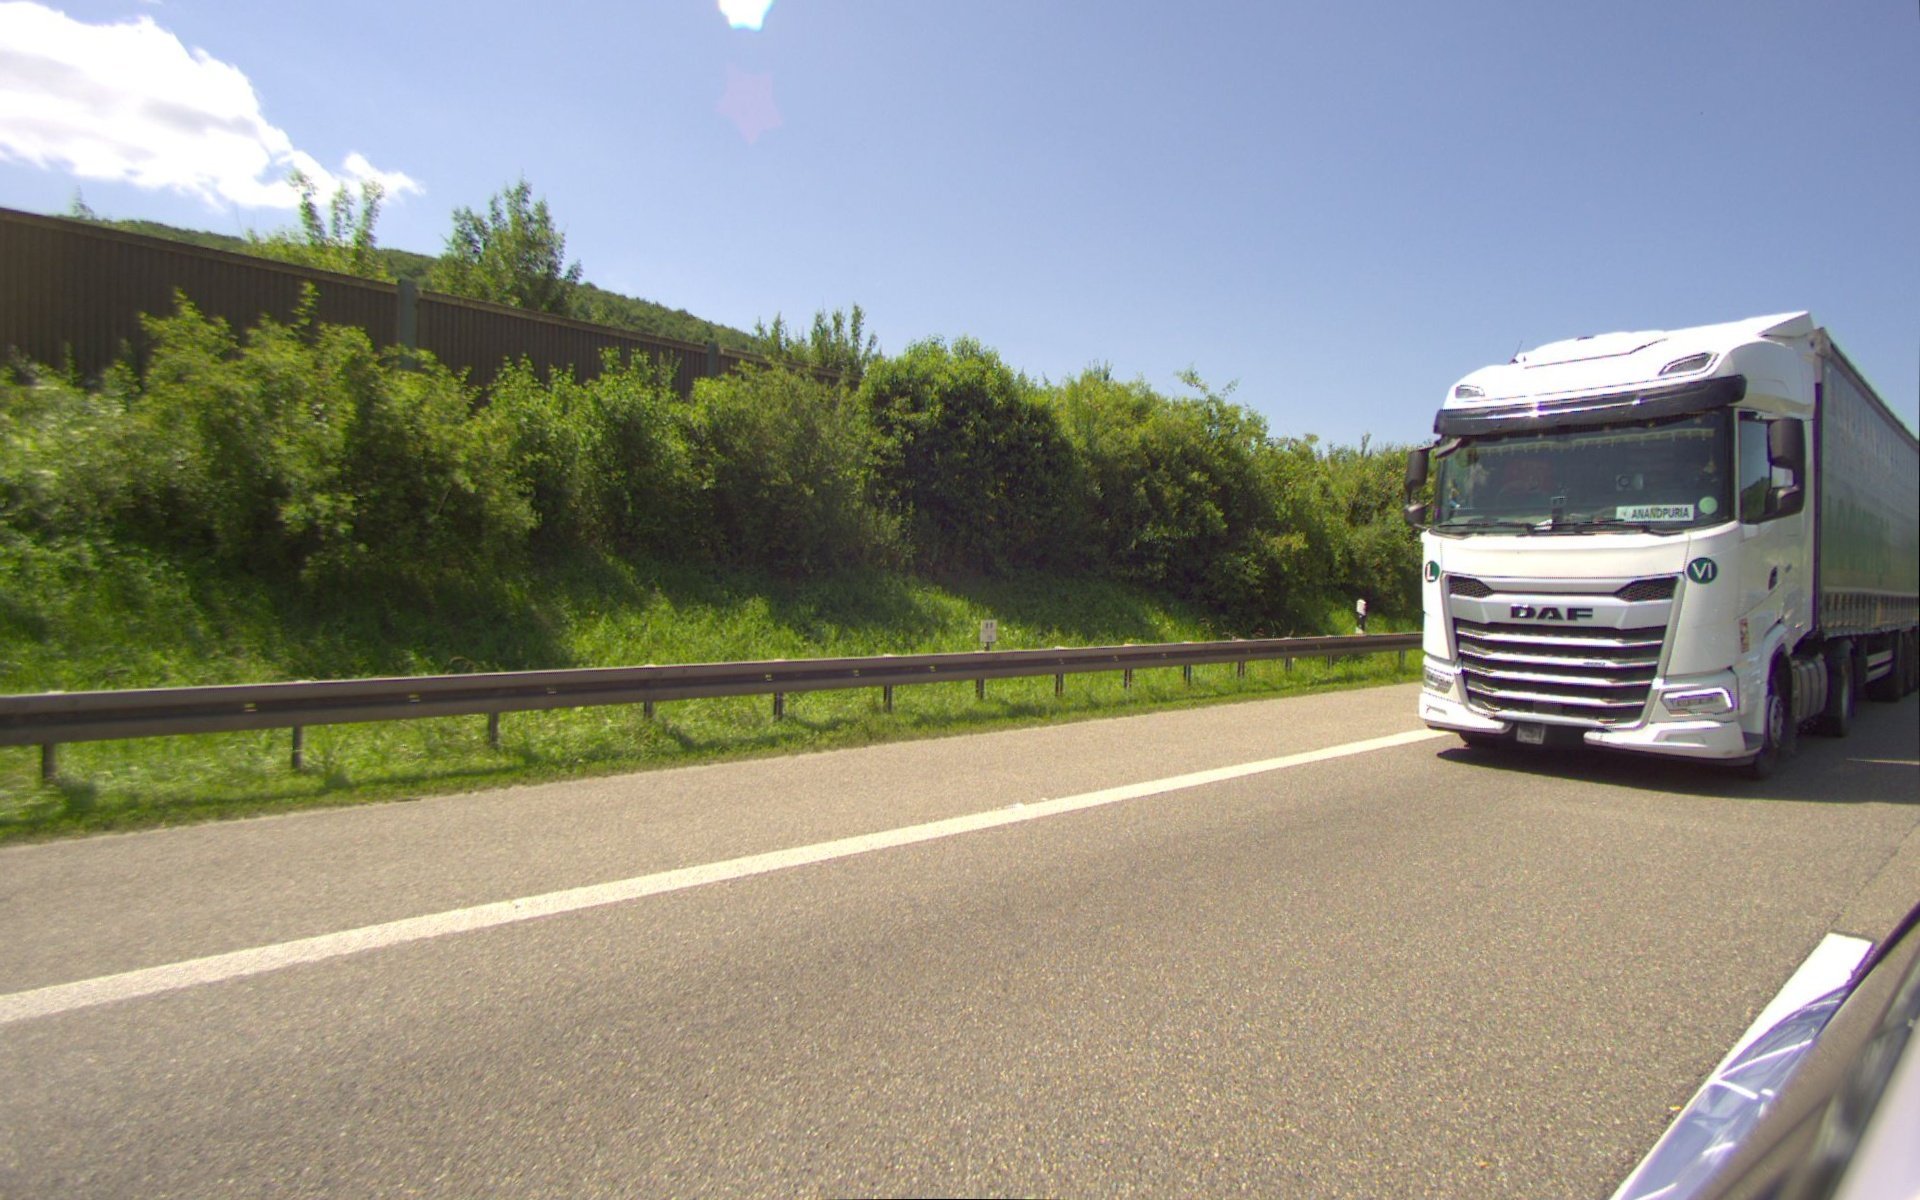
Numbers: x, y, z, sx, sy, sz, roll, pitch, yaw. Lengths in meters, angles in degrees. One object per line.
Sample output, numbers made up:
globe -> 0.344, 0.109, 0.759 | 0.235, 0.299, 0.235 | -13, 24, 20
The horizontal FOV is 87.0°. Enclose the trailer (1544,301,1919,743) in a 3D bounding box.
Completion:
trailer -> 12.205, -0.763, 14.665 | 13.421, 4.027, 2.481 | 0, 1, -42

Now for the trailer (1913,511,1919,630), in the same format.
trailer -> 39.033, -1.111, 38.992 | 13.400, 4.160, 2.540 | -1, 1, -43

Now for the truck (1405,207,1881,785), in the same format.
truck -> 7.089, -0.765, 10.099 | 6.272, 4.027, 2.481 | 0, 1, -42

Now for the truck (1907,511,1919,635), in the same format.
truck -> 34.745, -0.929, 34.994 | 5.978, 4.140, 2.527 | -1, 0, -43
